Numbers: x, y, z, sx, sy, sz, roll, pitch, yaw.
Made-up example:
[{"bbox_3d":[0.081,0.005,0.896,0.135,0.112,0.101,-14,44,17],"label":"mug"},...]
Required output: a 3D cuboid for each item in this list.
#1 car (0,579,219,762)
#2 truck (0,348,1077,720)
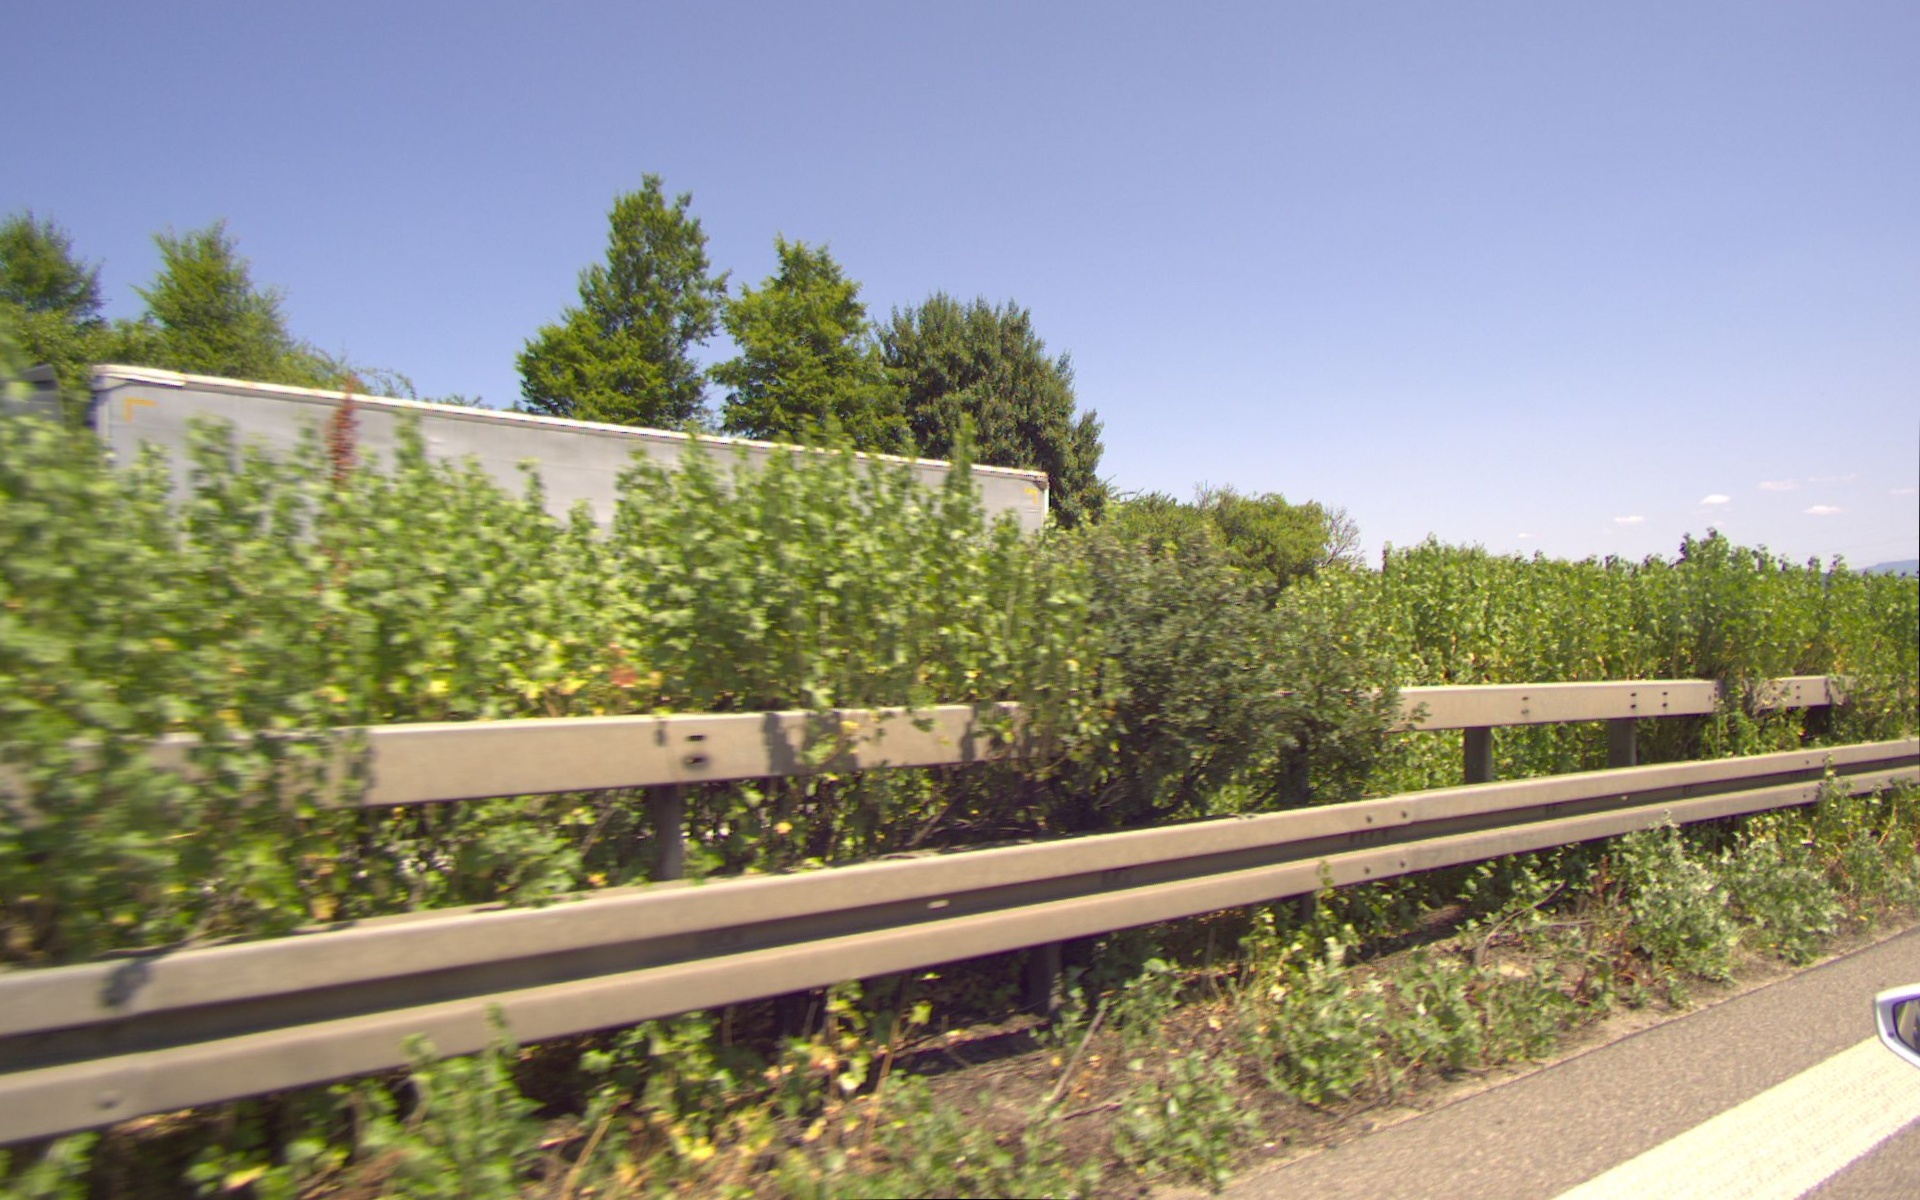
[{"bbox_3d":[-9.374,0.556,8.512,4.814,1.534,1.491,2,0,-32],"label":"car"},{"bbox_3d":[-5.677,-0.611,15.684,16.637,4.067,2.959,1,0,-32],"label":"truck"}]
